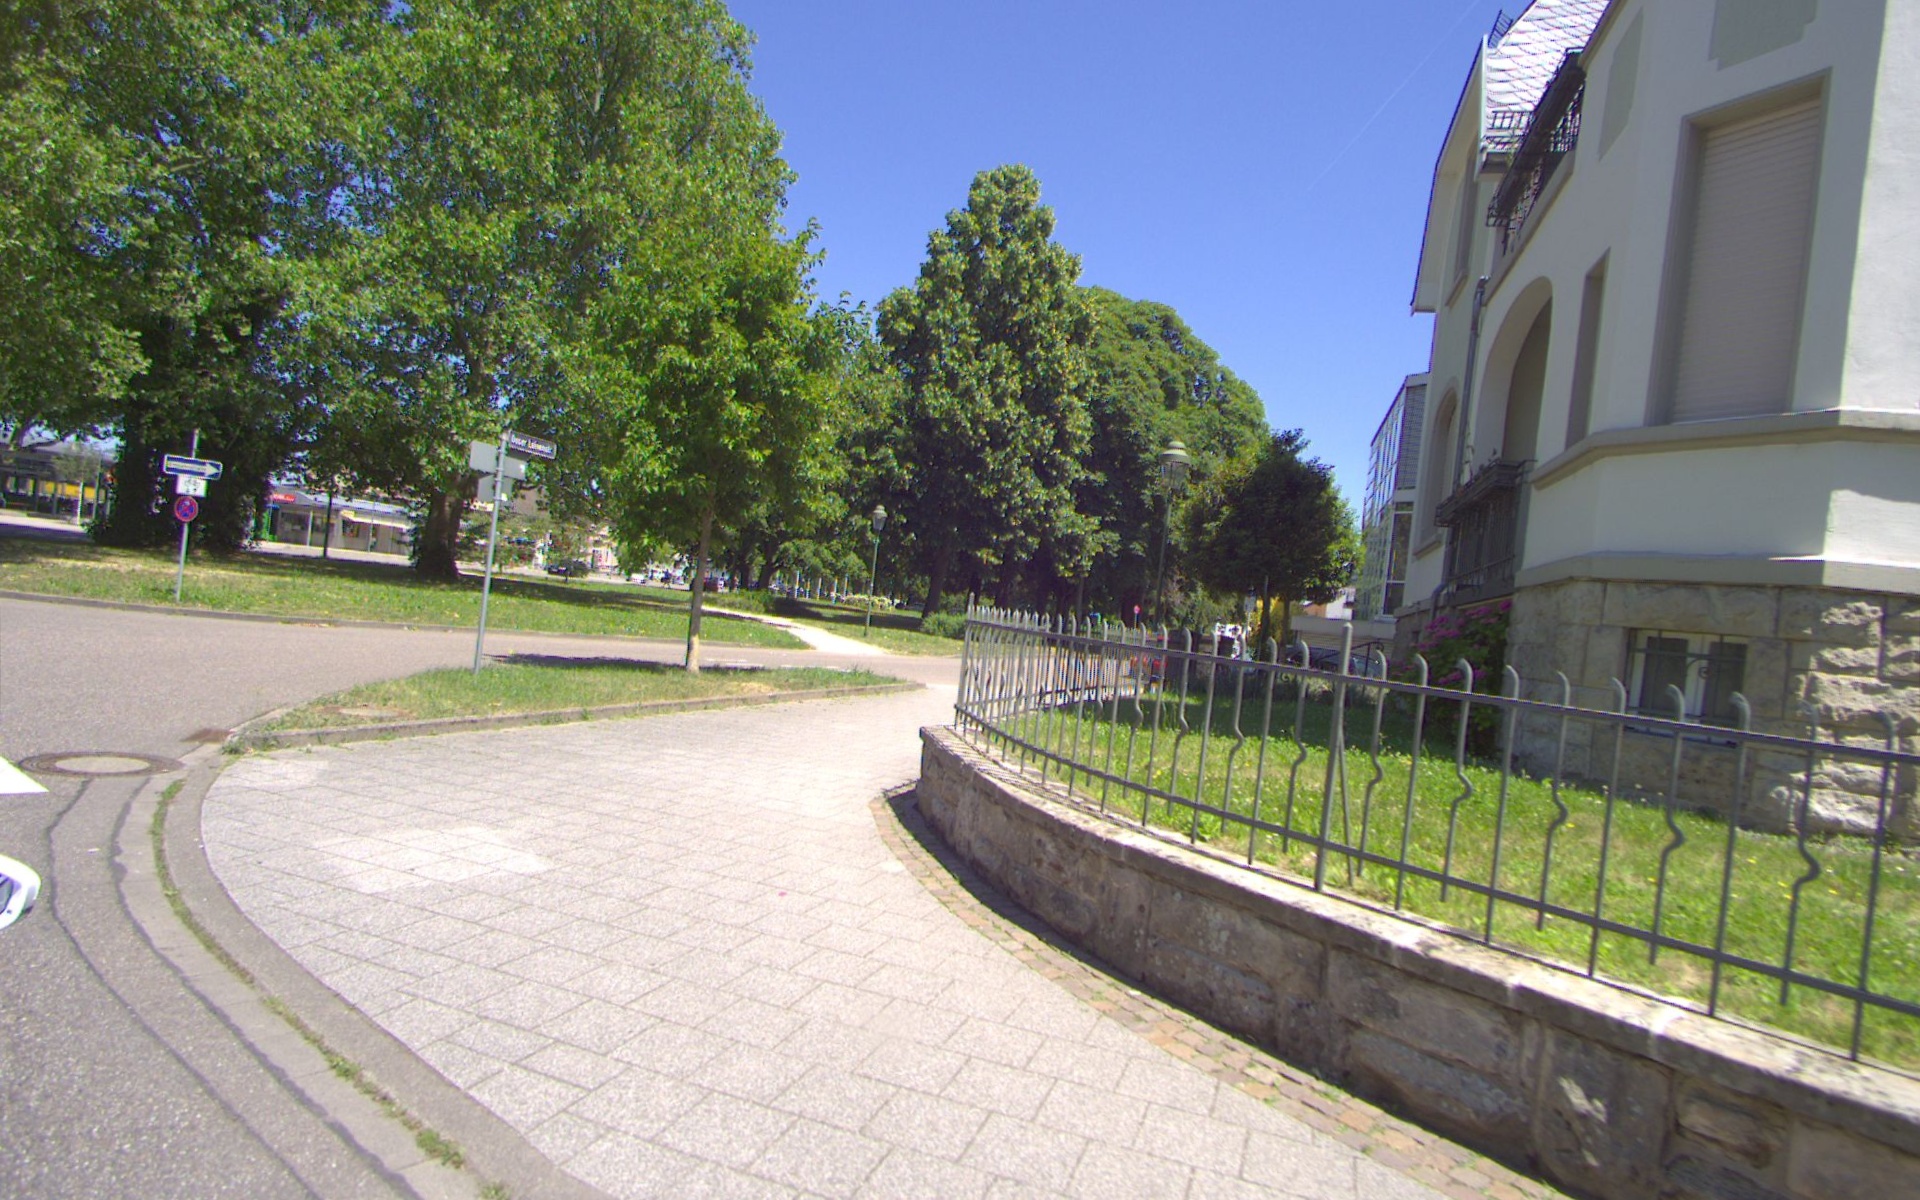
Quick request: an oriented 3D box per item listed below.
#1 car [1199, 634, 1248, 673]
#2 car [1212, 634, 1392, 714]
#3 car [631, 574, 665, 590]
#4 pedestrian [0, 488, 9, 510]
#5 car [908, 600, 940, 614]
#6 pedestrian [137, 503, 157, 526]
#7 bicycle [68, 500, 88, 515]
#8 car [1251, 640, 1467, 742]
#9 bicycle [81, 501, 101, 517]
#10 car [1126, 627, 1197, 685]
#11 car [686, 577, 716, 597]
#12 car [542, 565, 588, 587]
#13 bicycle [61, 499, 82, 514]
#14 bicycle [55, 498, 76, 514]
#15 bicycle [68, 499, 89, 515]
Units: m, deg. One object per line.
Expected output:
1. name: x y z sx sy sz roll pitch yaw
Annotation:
1. car: 12.220 2.476 46.490 1.721 1.526 4.000 7 0 19
2. car: 8.404 1.790 24.723 3.927 1.408 1.999 6 0 23
3. car: -33.014 -1.899 106.506 1.786 1.462 4.159 3 0 8
4. pedestrian: -65.713 -6.934 68.674 0.595 1.482 0.822 6 1 5
5. car: -4.928 0.962 138.019 4.041 1.484 2.000 7 0 3
6. pedestrian: -63.789 -6.719 78.931 0.808 1.636 0.767 7 -1 -11
7. bicycle: -72.571 -7.619 82.758 1.359 1.106 0.386 7 -1 9
8. car: 8.495 1.900 21.818 3.923 1.587 2.001 7 0 12
9. bicycle: -70.979 -7.447 82.147 1.359 1.106 0.386 7 -1 9
10. car: 6.566 1.782 32.533 1.721 1.543 4.001 7 0 17
11. car: -23.623 -1.150 91.822 1.692 1.496 3.706 6 -1 0
12. car: -35.449 -2.135 90.452 1.691 1.496 4.788 6 -1 7
13. bicycle: -72.641 -7.648 82.250 1.359 1.106 0.386 7 -1 9
14. bicycle: -72.632 -7.670 81.685 1.359 1.106 0.386 7 -1 8
15. bicycle: -71.191 -7.512 81.213 1.359 1.106 0.386 7 -1 8
